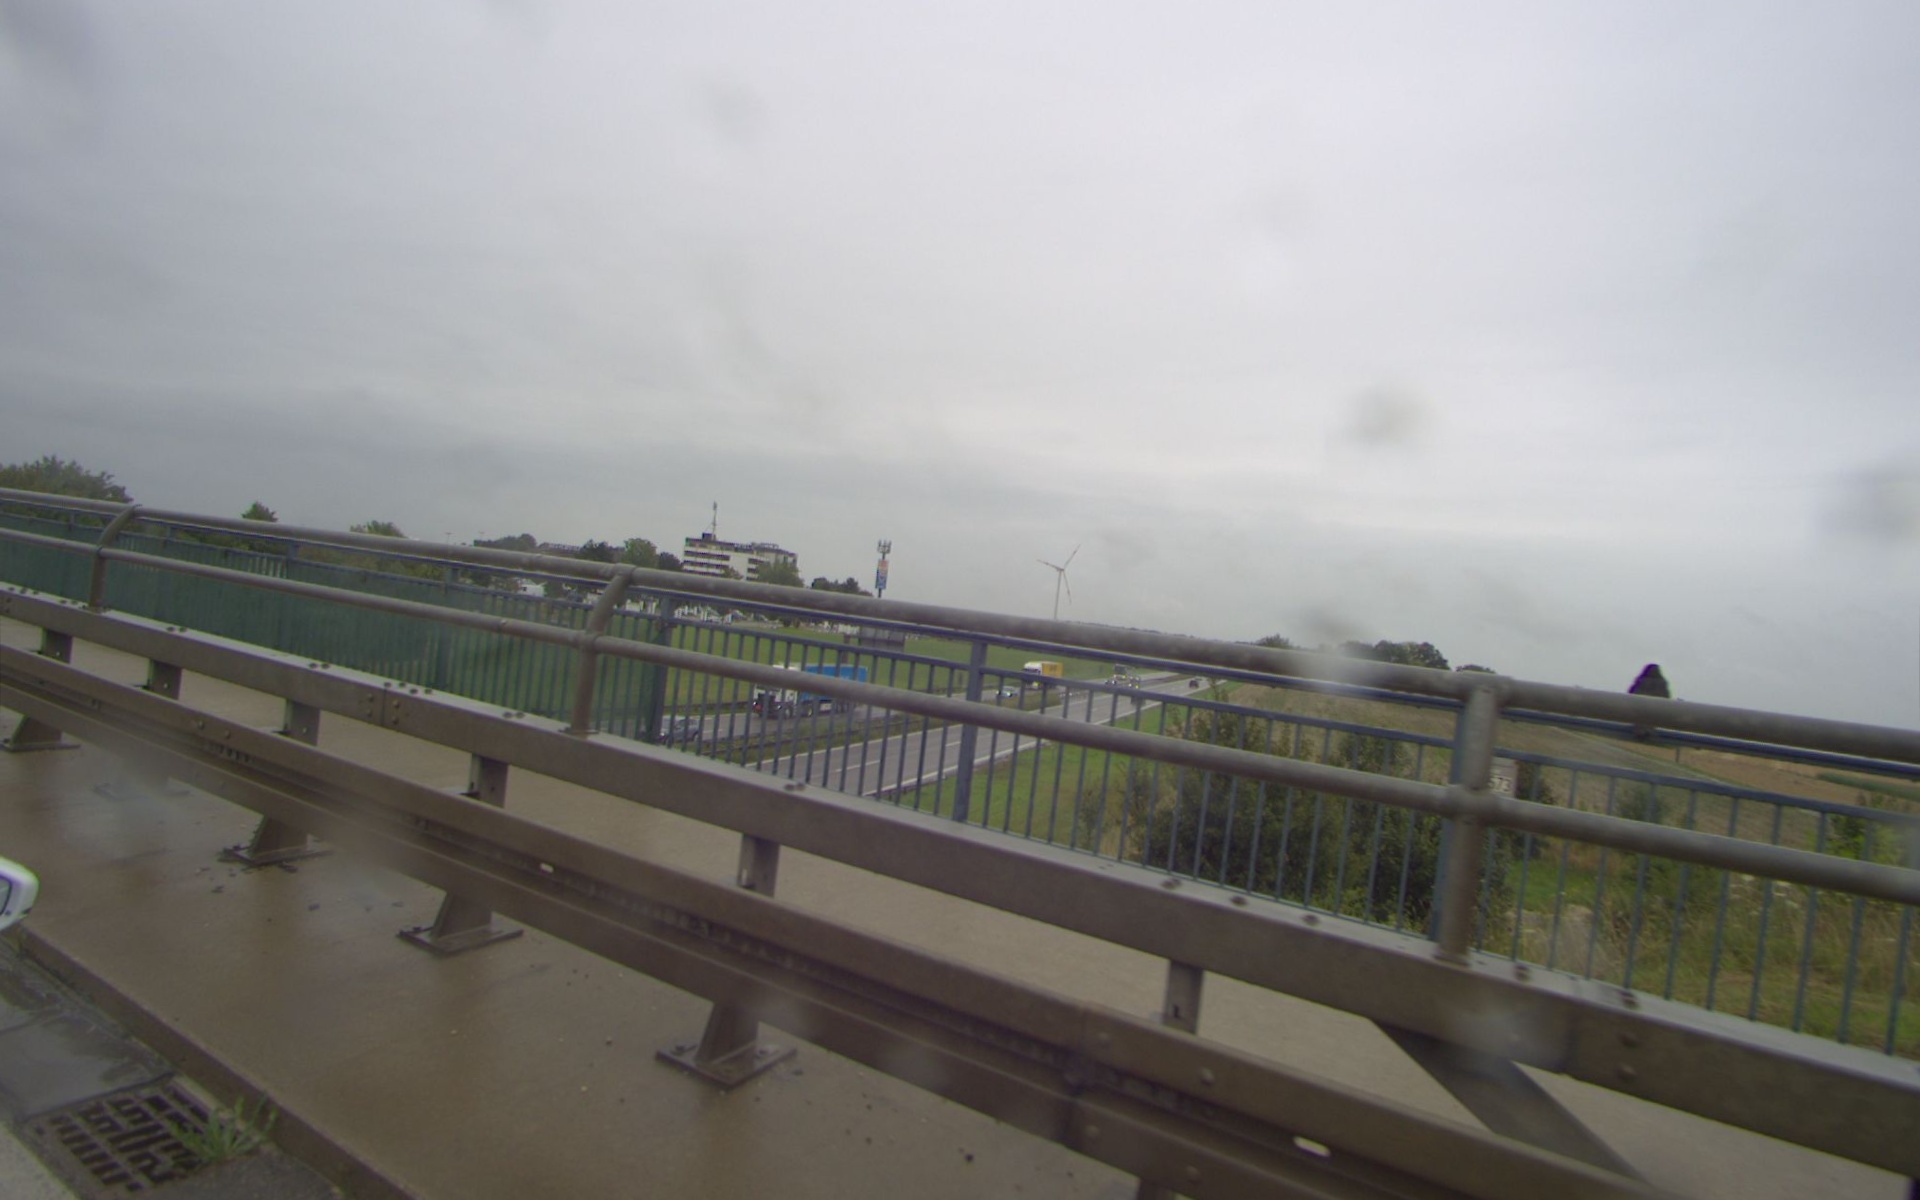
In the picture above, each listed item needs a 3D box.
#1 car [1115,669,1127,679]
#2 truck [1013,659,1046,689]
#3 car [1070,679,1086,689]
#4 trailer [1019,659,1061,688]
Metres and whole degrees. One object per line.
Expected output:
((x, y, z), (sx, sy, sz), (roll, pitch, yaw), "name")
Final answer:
((36.354, 16.700, 227.025), (1.962, 1.783, 4.007), (7, -3, 17), "car")
((10.395, 11.006, 150.743), (2.828, 4.015, 6.823), (7, -1, 19), "truck")
((19.412, 13.757, 165.062), (1.646, 1.366, 4.005), (7, -3, 20), "car")
((12.707, 11.448, 157.617), (2.828, 4.015, 14.030), (7, -1, 19), "trailer")
